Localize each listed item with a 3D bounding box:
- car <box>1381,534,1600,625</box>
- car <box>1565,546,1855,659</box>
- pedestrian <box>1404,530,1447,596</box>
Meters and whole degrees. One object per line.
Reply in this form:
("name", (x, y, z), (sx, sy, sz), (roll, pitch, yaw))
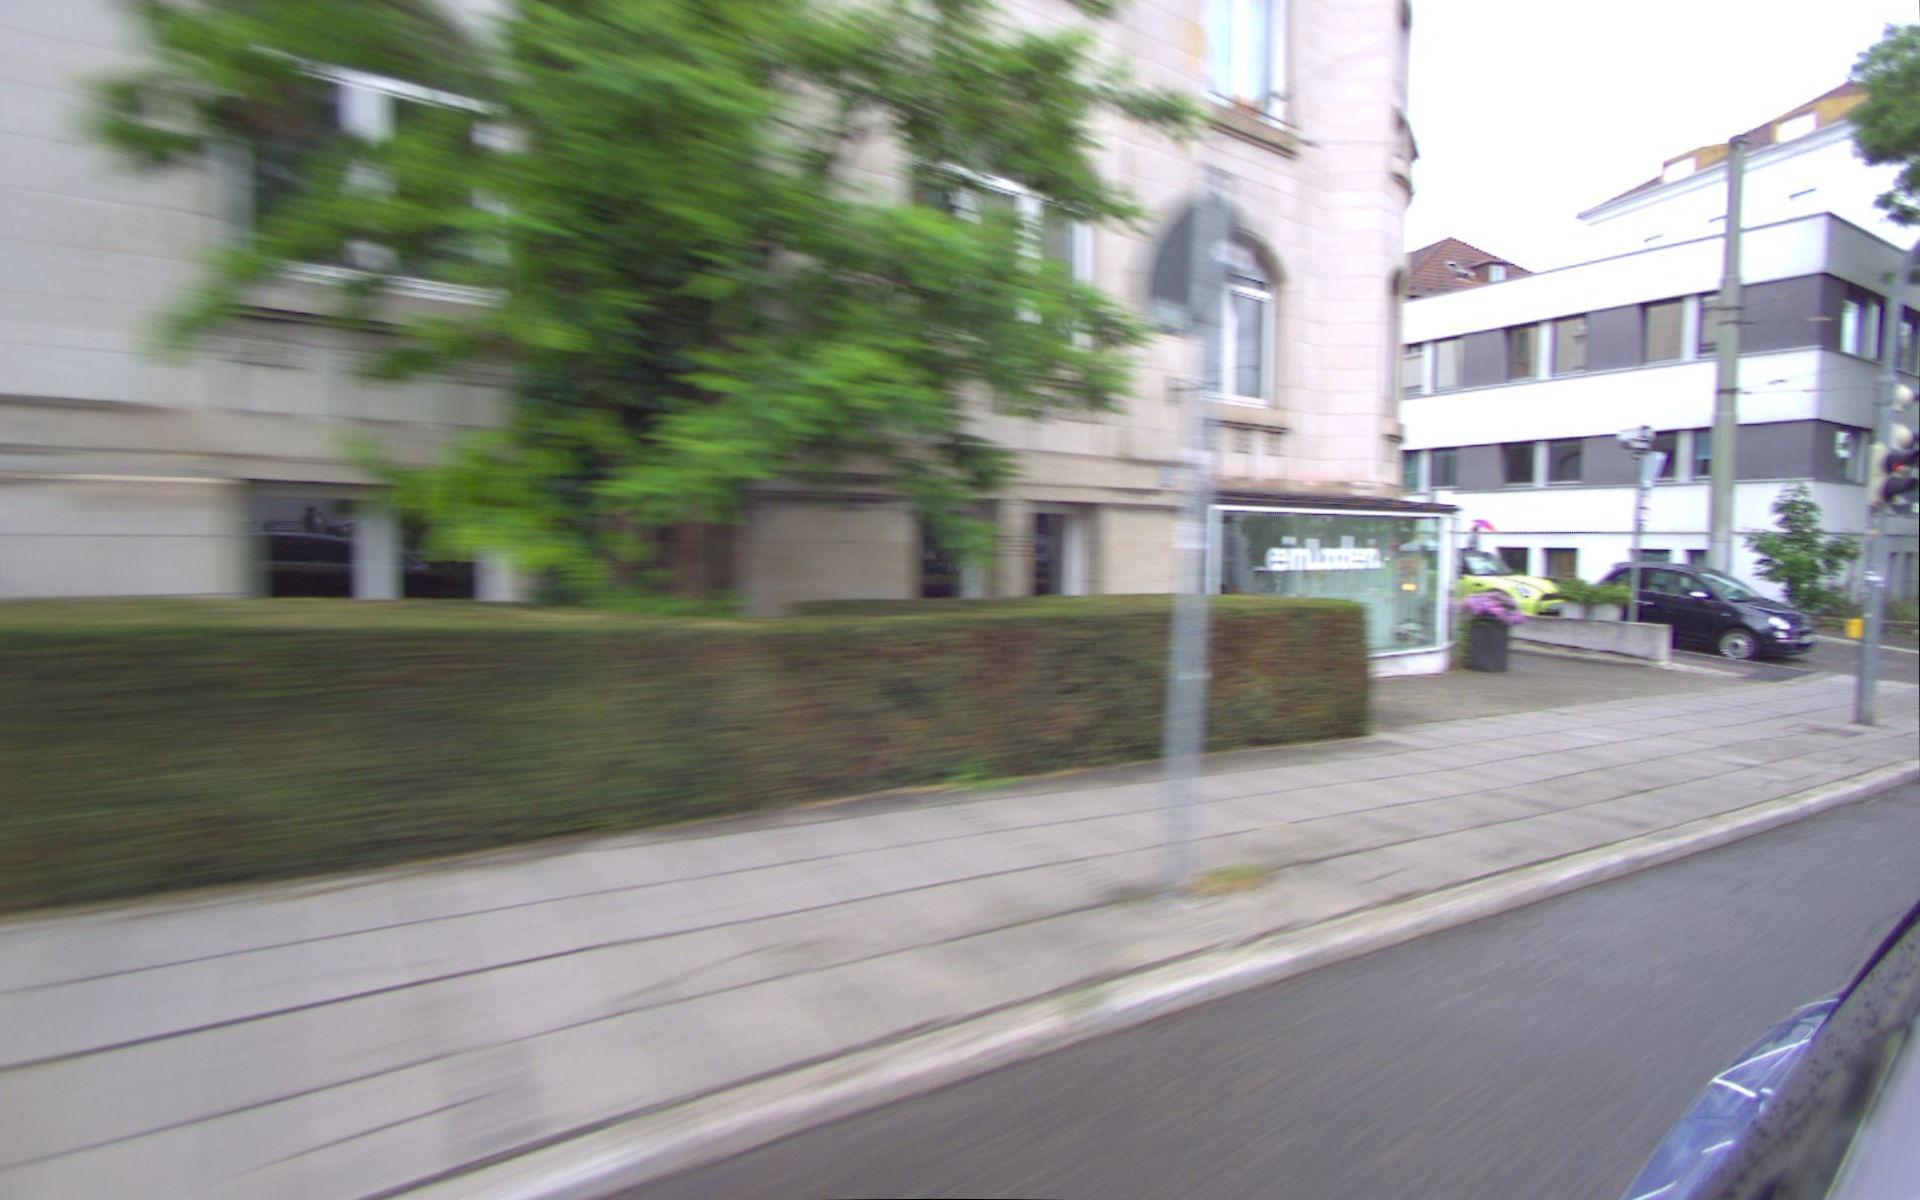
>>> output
("car", (11.076, -0.503, 21.384), (1.703, 1.525, 3.679), (0, 7, -30))
("car", (13.211, -0.044, 18.074), (1.703, 1.525, 3.679), (0, 7, -29))
("pedestrian", (12.523, -0.995, 27.226), (0.637, 1.699, 0.705), (1, 4, -34))
